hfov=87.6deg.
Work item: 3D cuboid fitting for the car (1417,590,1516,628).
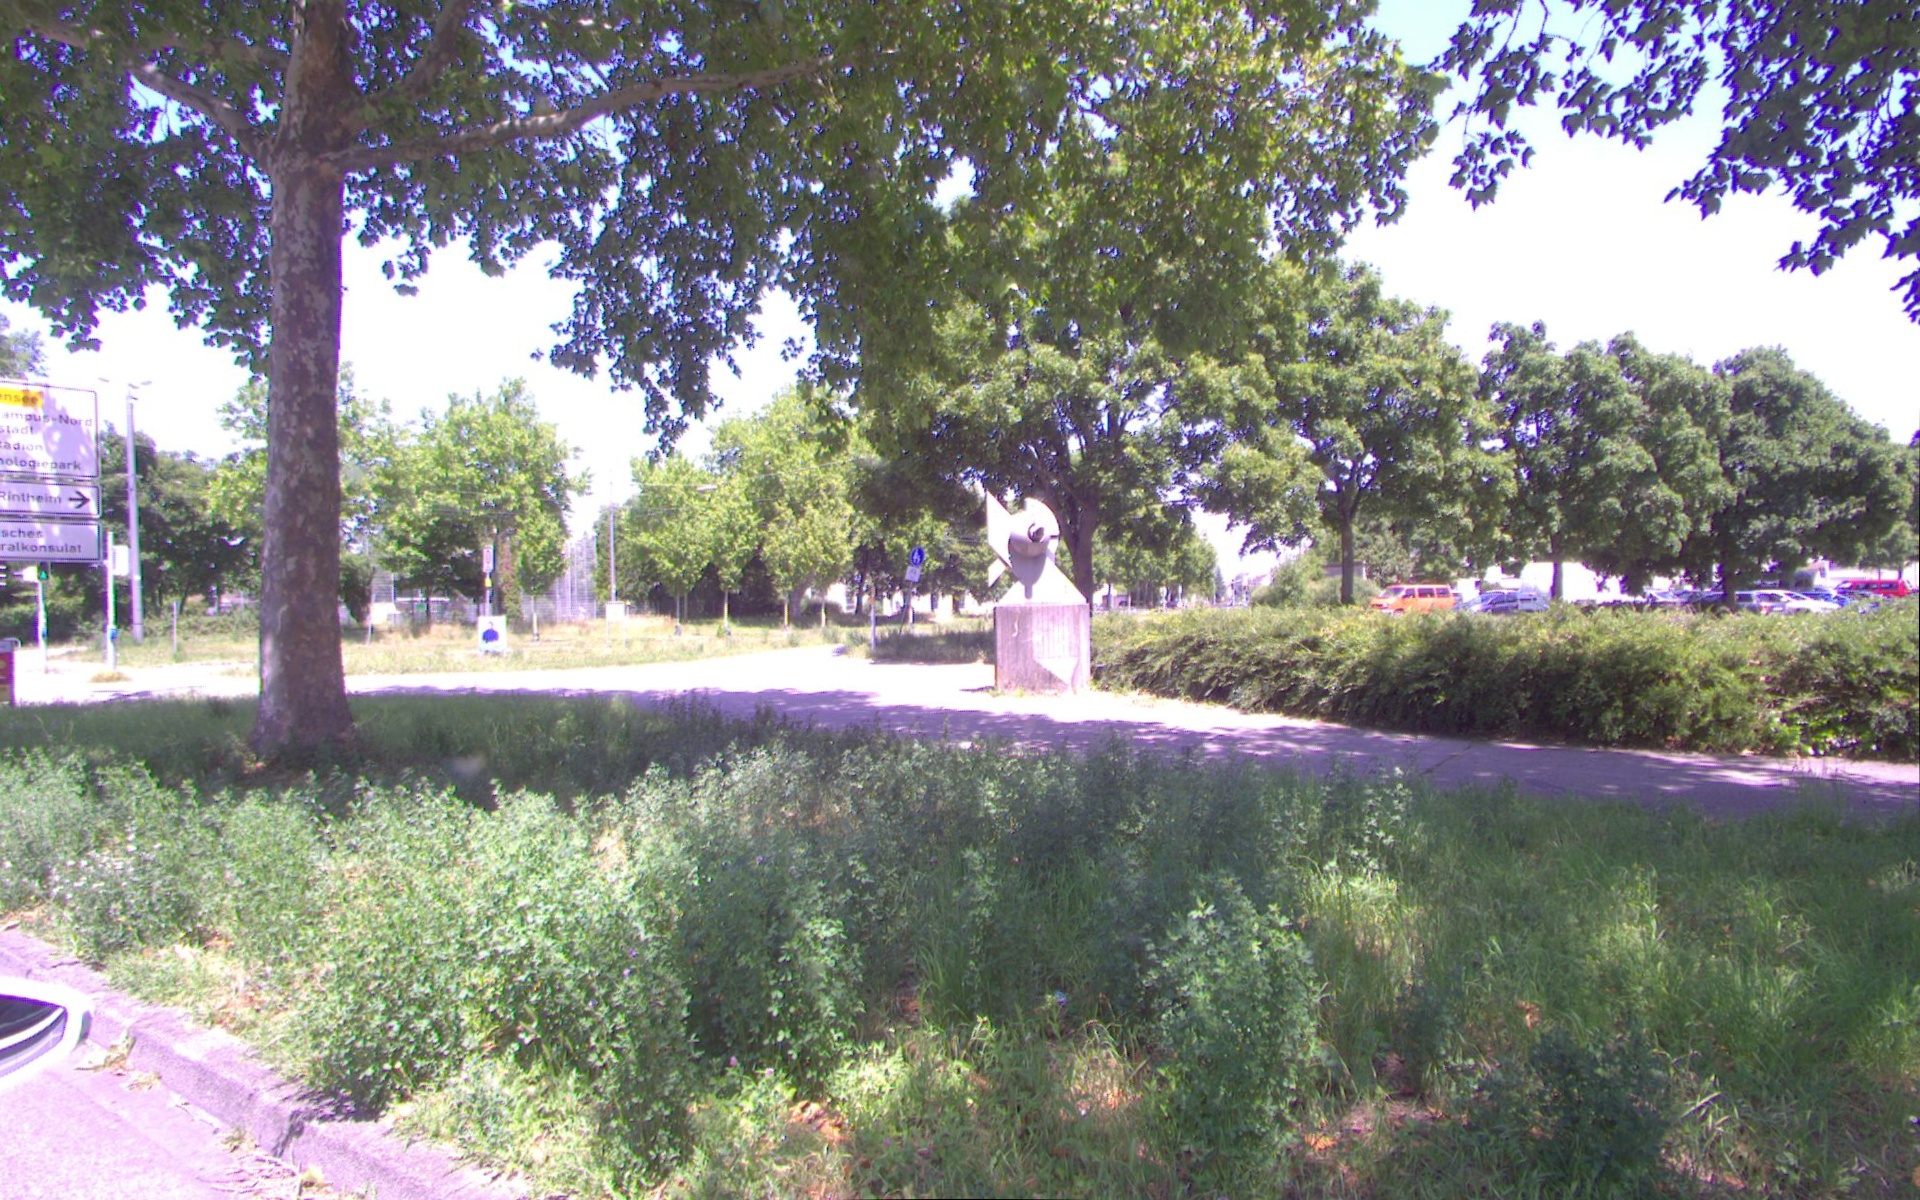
[{"bbox_3d":[23.930,0.411,47.326,4.000,1.741,1.952,-1,0,-18],"label":"car"}]

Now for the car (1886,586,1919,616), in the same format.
[{"bbox_3d":[44.469,0.043,45.325,1.690,1.384,3.414,-1,0,-25],"label":"car"}]

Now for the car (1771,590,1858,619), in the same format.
[{"bbox_3d":[35.321,0.194,41.419,0.938,1.141,2.590,-1,0,-25],"label":"car"}]

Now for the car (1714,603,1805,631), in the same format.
[{"bbox_3d":[30.738,0.646,38.553,0.938,1.050,2.590,-1,0,-25],"label":"car"}]

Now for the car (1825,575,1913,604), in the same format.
[{"bbox_3d":[103.959,-1.156,114.624,3.155,3.224,7.143,-1,0,-41],"label":"car"}]

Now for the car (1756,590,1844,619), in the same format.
[{"bbox_3d":[34.352,0.175,40.981,0.991,1.141,2.590,-1,0,-25],"label":"car"}]

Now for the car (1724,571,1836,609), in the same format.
[{"bbox_3d":[46.411,-0.548,56.800,2.209,2.040,4.409,-1,0,-22],"label":"car"}]

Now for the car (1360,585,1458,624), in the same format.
[{"bbox_3d":[23.845,0.227,53.235,4.582,2.029,2.069,0,0,-19],"label":"car"}]

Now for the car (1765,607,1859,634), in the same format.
[{"bbox_3d":[32.492,0.779,38.221,0.938,1.000,2.590,-1,0,-25],"label":"car"}]

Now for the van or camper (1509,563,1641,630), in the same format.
[{"bbox_3d":[27.006,-0.162,43.994,5.039,2.787,2.199,-1,0,-18],"label":"van or camper"}]

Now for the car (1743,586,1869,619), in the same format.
[{"bbox_3d":[34.385,0.085,40.800,1.595,1.242,3.559,0,1,-25],"label":"car"}]

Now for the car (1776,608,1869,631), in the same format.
[{"bbox_3d":[33.478,0.762,38.908,0.938,0.852,2.590,-1,0,-25],"label":"car"}]

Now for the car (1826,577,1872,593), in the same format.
[{"bbox_3d":[92.649,-1.548,104.417,3.309,1.639,1.439,-1,0,19],"label":"car"}]

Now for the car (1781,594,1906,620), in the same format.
[{"bbox_3d":[36.717,0.295,41.706,1.655,1.048,3.553,-1,0,-25],"label":"car"}]

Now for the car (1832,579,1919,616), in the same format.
[{"bbox_3d":[57.219,-0.144,62.350,1.935,2.038,3.990,1,-3,-23],"label":"car"}]
